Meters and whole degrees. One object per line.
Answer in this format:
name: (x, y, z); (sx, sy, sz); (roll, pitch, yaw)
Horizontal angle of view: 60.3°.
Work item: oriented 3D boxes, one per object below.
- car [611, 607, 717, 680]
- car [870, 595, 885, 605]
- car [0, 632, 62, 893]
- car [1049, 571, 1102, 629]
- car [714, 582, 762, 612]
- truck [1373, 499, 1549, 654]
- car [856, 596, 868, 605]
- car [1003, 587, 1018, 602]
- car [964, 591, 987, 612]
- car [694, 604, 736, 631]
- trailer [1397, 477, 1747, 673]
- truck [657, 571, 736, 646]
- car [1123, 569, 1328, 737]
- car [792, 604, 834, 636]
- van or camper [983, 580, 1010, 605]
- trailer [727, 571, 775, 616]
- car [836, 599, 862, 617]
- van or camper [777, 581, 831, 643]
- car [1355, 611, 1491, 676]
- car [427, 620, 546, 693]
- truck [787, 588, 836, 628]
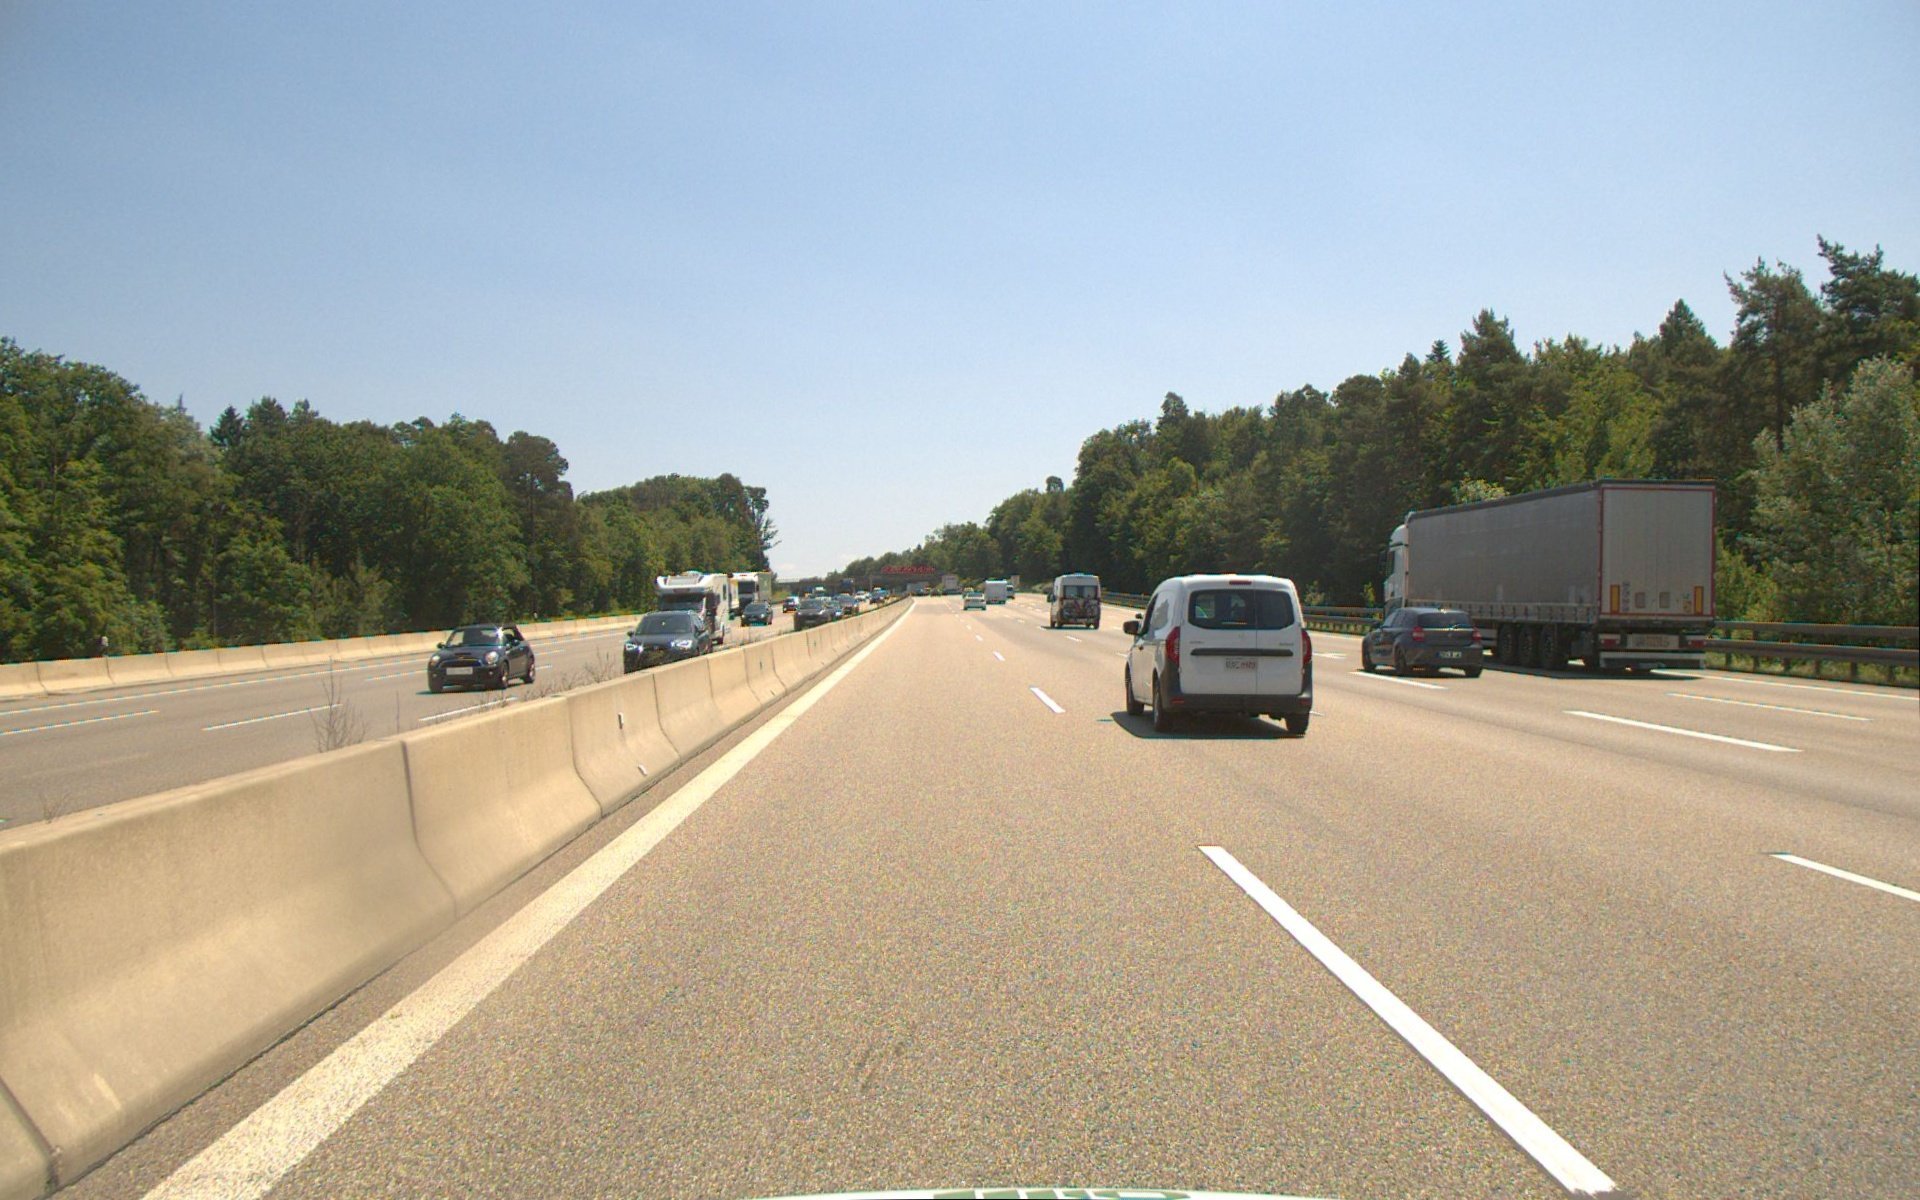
car: (-7.039, 0.982, 39.796); (1.688, 1.564, 5.054); (-2, 0, -1)
car: (-10.589, -0.005, 213.492); (1.798, 1.361, 3.642); (-1, 0, -1)
car: (-6.749, 1.075, 8.190); (1.809, 1.577, 5.212); (-4, 0, -2)
car: (5.515, -0.021, 79.749); (2.100, 2.698, 5.708); (0, 0, -1)
car: (-11.149, -0.151, 83.317); (1.716, 1.401, 4.491); (-1, 0, 1)
truck: (14.348, -0.642, 47.879); (3.188, 4.178, 5.986); (1, 0, -1)
car: (-14.869, 0.071, 251.801); (1.695, 1.361, 3.642); (-1, 0, -1)
car: (6.602, -0.708, 217.106); (1.783, 1.892, 3.999); (-1, 0, -1)
car: (1.280, 0.141, 140.431); (1.806, 1.657, 4.552); (-2, -1, -1)
car: (-13.528, 0.981, 91.403); (1.798, 1.361, 3.642); (-2, -1, -1)
trailer: (14.495, -0.530, 41.121); (3.221, 3.999, 13.886); (1, 0, -1)
truck: (-10.737, 0.320, 68.008); (2.094, 2.888, 7.668); (-1, 0, -1)
car: (3.174, 0.614, 20.654); (1.822, 1.858, 4.611); (0, -1, 0)
car: (-7.887, 1.068, 89.022); (1.953, 1.646, 3.999); (-1, 0, -1)
van or camper: (3.956, -0.775, 180.314); (2.591, 2.583, 6.500); (-1, -1, -1)
trailer: (-20.303, -0.570, 161.193); (3.465, 4.140, 10.368); (-2, -1, -1)
car: (-8.763, 0.587, 130.744); (1.798, 1.361, 3.642); (-1, 0, -1)
van or camper: (-8.313, 0.635, 88.891); (2.153, 3.110, 8.026); (-2, 0, -1)
car: (9.778, 0.879, 35.242); (1.636, 1.296, 4.289); (0, 0, -1)
car: (-10.716, 1.243, 37.687); (1.503, 1.507, 4.124); (0, 0, 0)
truck: (-8.119, 0.466, 90.487); (2.333, 2.049, 3.999); (-2, -1, -1)
